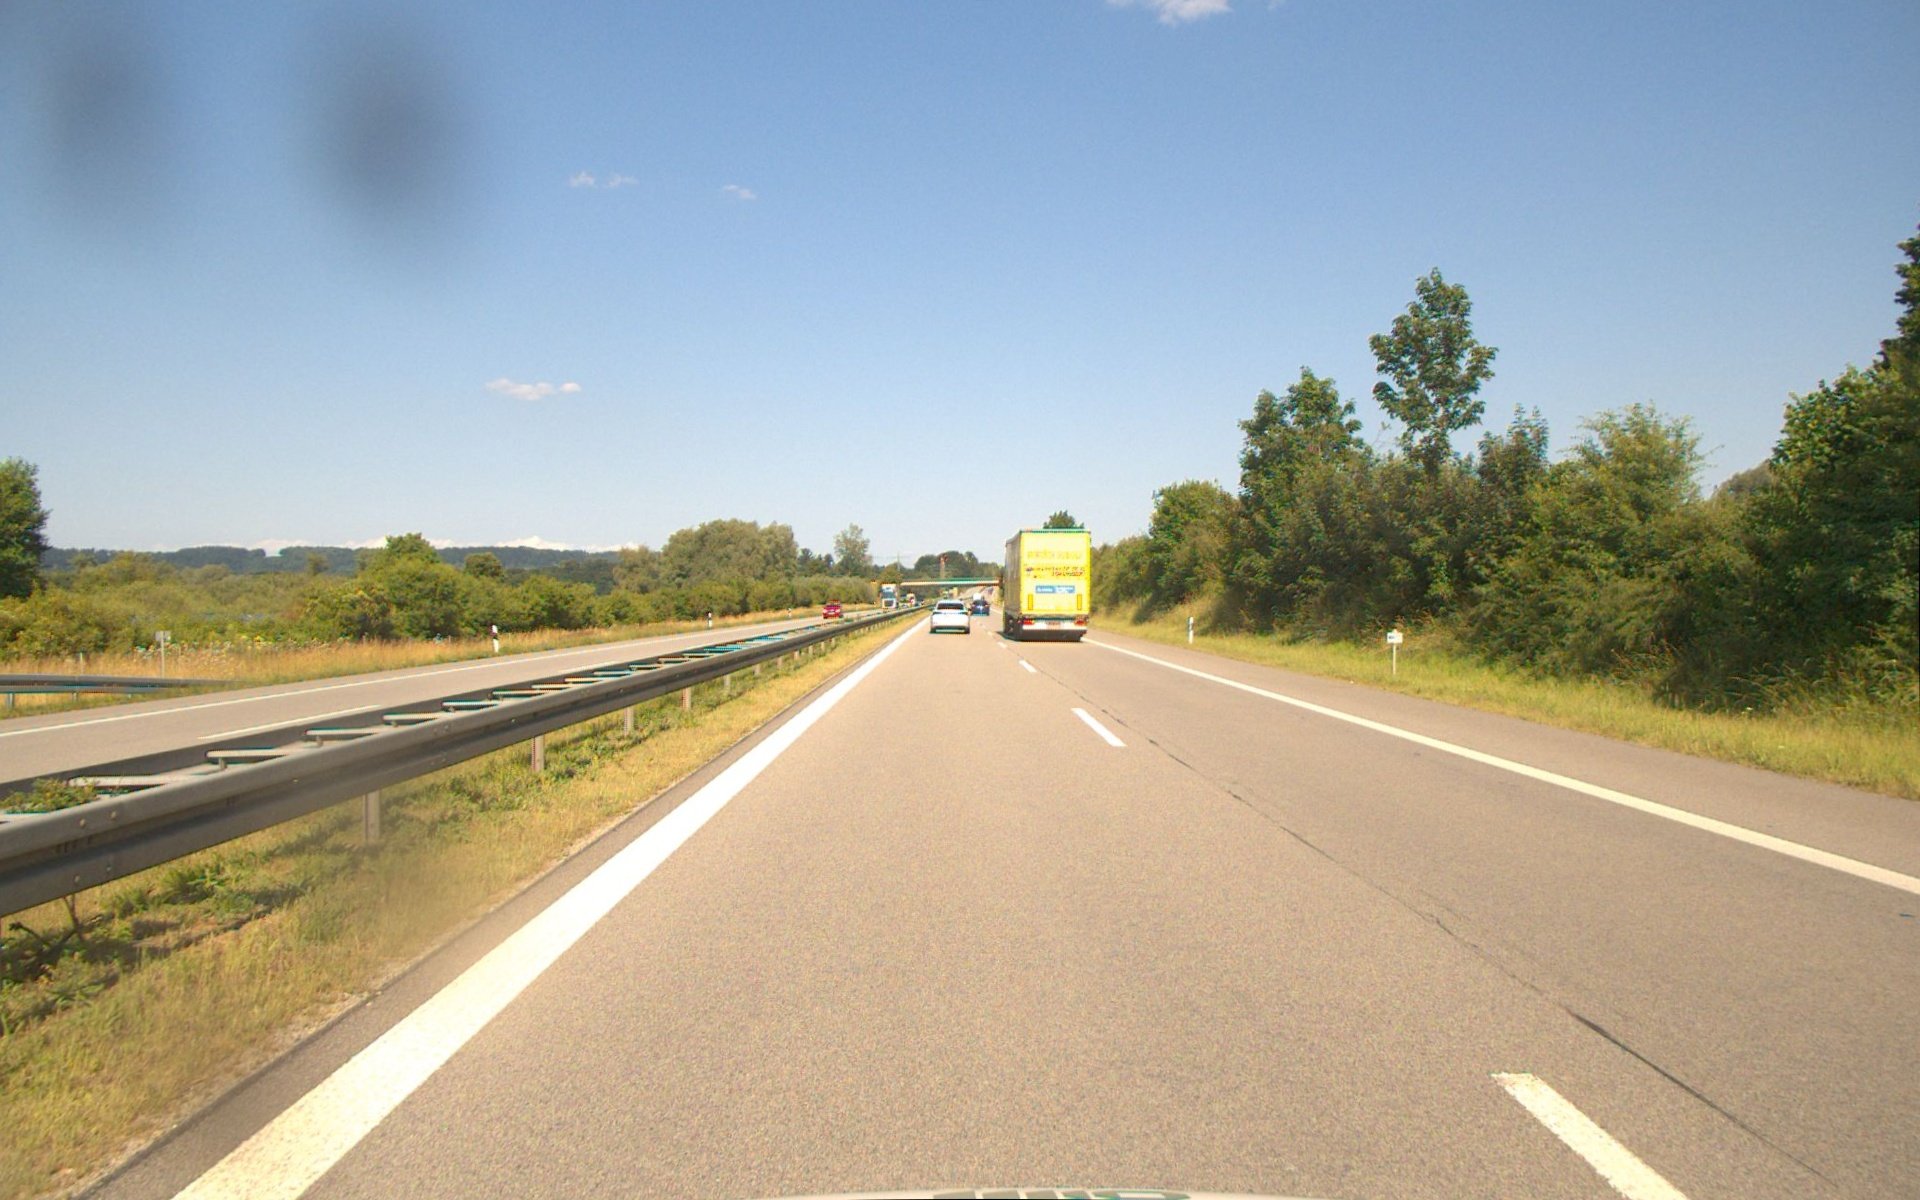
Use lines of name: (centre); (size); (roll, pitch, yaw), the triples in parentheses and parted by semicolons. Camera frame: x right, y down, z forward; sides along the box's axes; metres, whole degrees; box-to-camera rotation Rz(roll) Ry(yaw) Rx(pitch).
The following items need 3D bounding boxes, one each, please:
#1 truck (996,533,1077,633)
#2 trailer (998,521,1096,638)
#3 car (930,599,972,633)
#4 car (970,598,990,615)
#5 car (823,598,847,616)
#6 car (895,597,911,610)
truck: (3.316, -0.701, 73.097); (3.104, 4.186, 6.387); (1, 0, -1)
trailer: (3.276, -0.721, 65.907); (3.119, 4.130, 13.185); (1, 0, 0)
car: (-0.367, 0.683, 73.296); (1.805, 1.440, 4.000); (1, 0, 0)
car: (1.898, 0.595, 157.091); (1.805, 1.546, 4.000); (1, 0, 0)
car: (-11.237, 0.625, 148.944); (1.695, 1.537, 4.480); (-3, 0, 1)
car: (-7.976, 0.478, 231.151); (1.910, 1.802, 4.749); (-3, 0, 1)
